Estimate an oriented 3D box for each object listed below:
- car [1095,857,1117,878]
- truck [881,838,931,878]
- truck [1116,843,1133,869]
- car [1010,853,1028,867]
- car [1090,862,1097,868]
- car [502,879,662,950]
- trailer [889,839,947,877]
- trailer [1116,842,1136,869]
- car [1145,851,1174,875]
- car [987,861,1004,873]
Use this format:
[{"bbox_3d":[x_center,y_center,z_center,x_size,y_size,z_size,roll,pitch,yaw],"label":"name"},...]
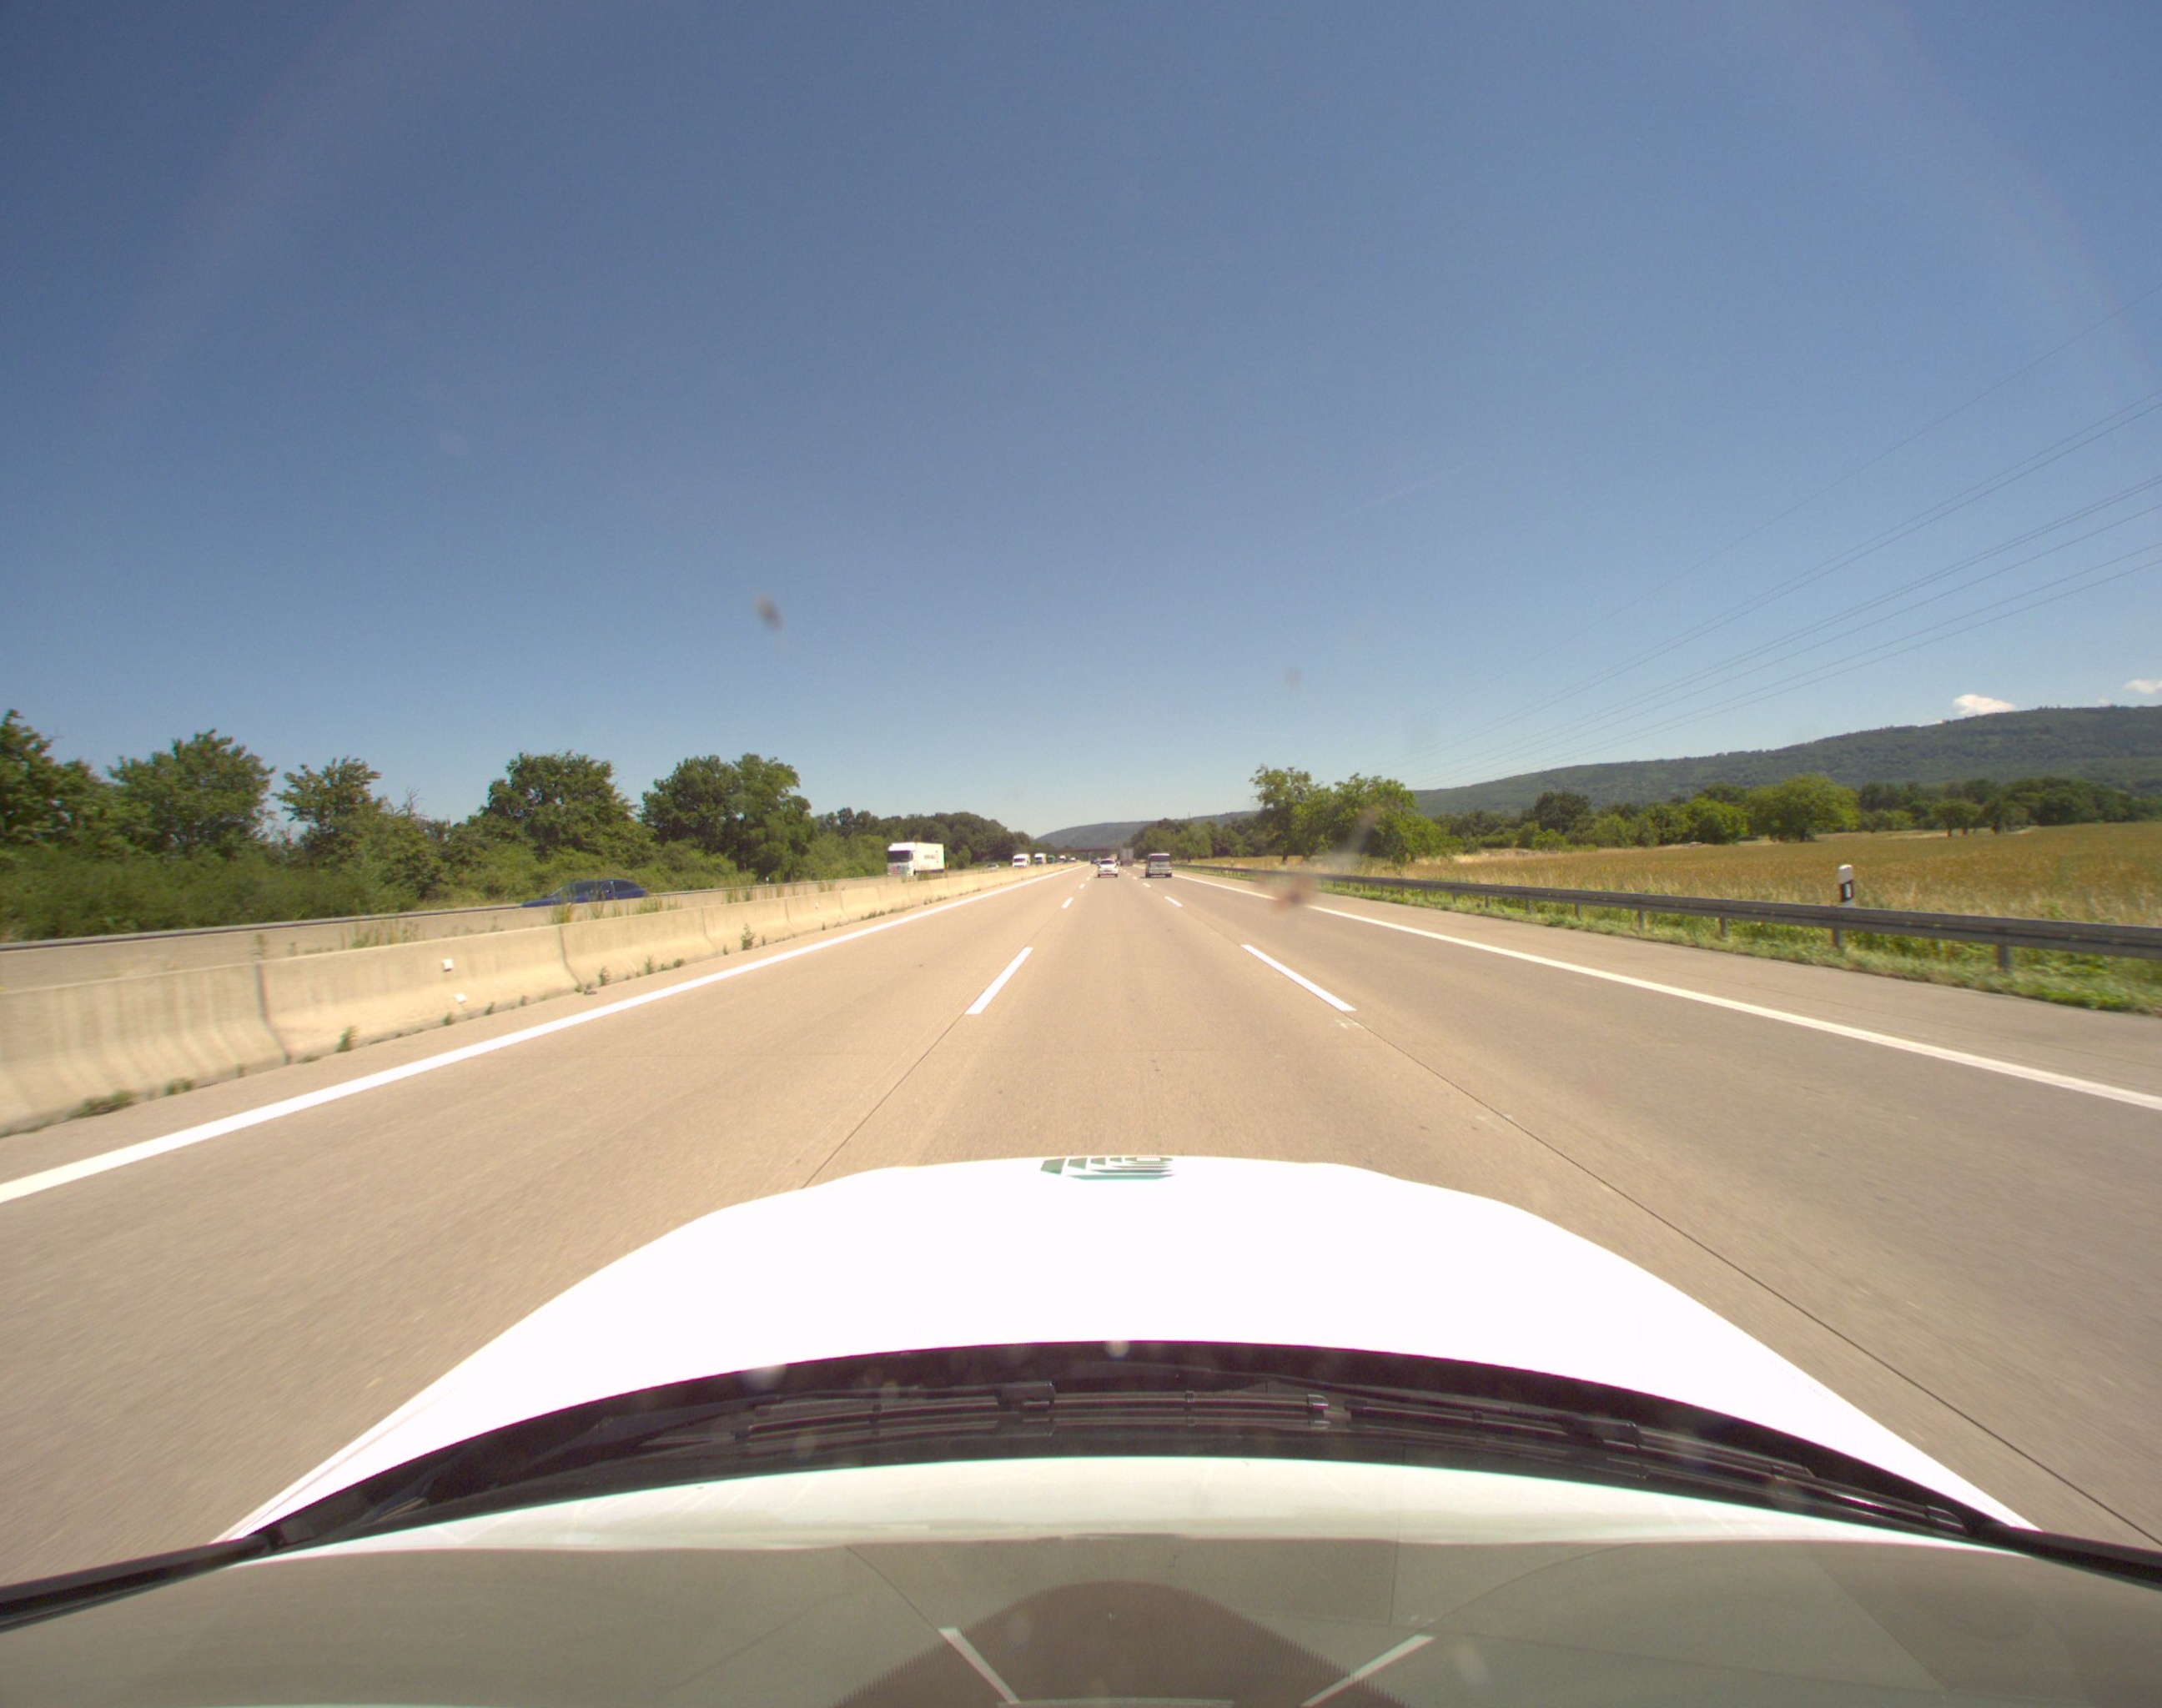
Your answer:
[{"bbox_3d":[2.093,1.077,68.664,1.813,1.662,4.001,-1,0,1],"label":"car"},{"bbox_3d":[-17.823,0.391,83.648,3.149,3.908,8.375,-1,0,1],"label":"truck"},{"bbox_3d":[9.967,0.399,187.965,3.709,5.811,7.053,-1,0,0],"label":"truck"},{"bbox_3d":[-8.797,0.844,116.827,2.061,2.013,5.980,-1,0,0],"label":"car"},{"bbox_3d":[3.689,3.168,243.645,1.922,1.794,4.001,-1,0,1],"label":"car"},{"bbox_3d":[-15.412,1.798,25.519,1.986,1.882,4.694,-1,0,2],"label":"car"},{"bbox_3d":[-17.670,0.422,89.550,3.149,3.838,14.034,-1,0,1],"label":"trailer"},{"bbox_3d":[9.936,0.388,180.758,3.709,5.811,12.160,-1,0,0],"label":"trailer"},{"bbox_3d":[6.211,0.727,65.026,1.986,1.849,4.001,0,0,1],"label":"car"},{"bbox_3d":[-12.824,1.997,122.049,1.812,1.662,4.003,-2,0,3],"label":"car"}]
